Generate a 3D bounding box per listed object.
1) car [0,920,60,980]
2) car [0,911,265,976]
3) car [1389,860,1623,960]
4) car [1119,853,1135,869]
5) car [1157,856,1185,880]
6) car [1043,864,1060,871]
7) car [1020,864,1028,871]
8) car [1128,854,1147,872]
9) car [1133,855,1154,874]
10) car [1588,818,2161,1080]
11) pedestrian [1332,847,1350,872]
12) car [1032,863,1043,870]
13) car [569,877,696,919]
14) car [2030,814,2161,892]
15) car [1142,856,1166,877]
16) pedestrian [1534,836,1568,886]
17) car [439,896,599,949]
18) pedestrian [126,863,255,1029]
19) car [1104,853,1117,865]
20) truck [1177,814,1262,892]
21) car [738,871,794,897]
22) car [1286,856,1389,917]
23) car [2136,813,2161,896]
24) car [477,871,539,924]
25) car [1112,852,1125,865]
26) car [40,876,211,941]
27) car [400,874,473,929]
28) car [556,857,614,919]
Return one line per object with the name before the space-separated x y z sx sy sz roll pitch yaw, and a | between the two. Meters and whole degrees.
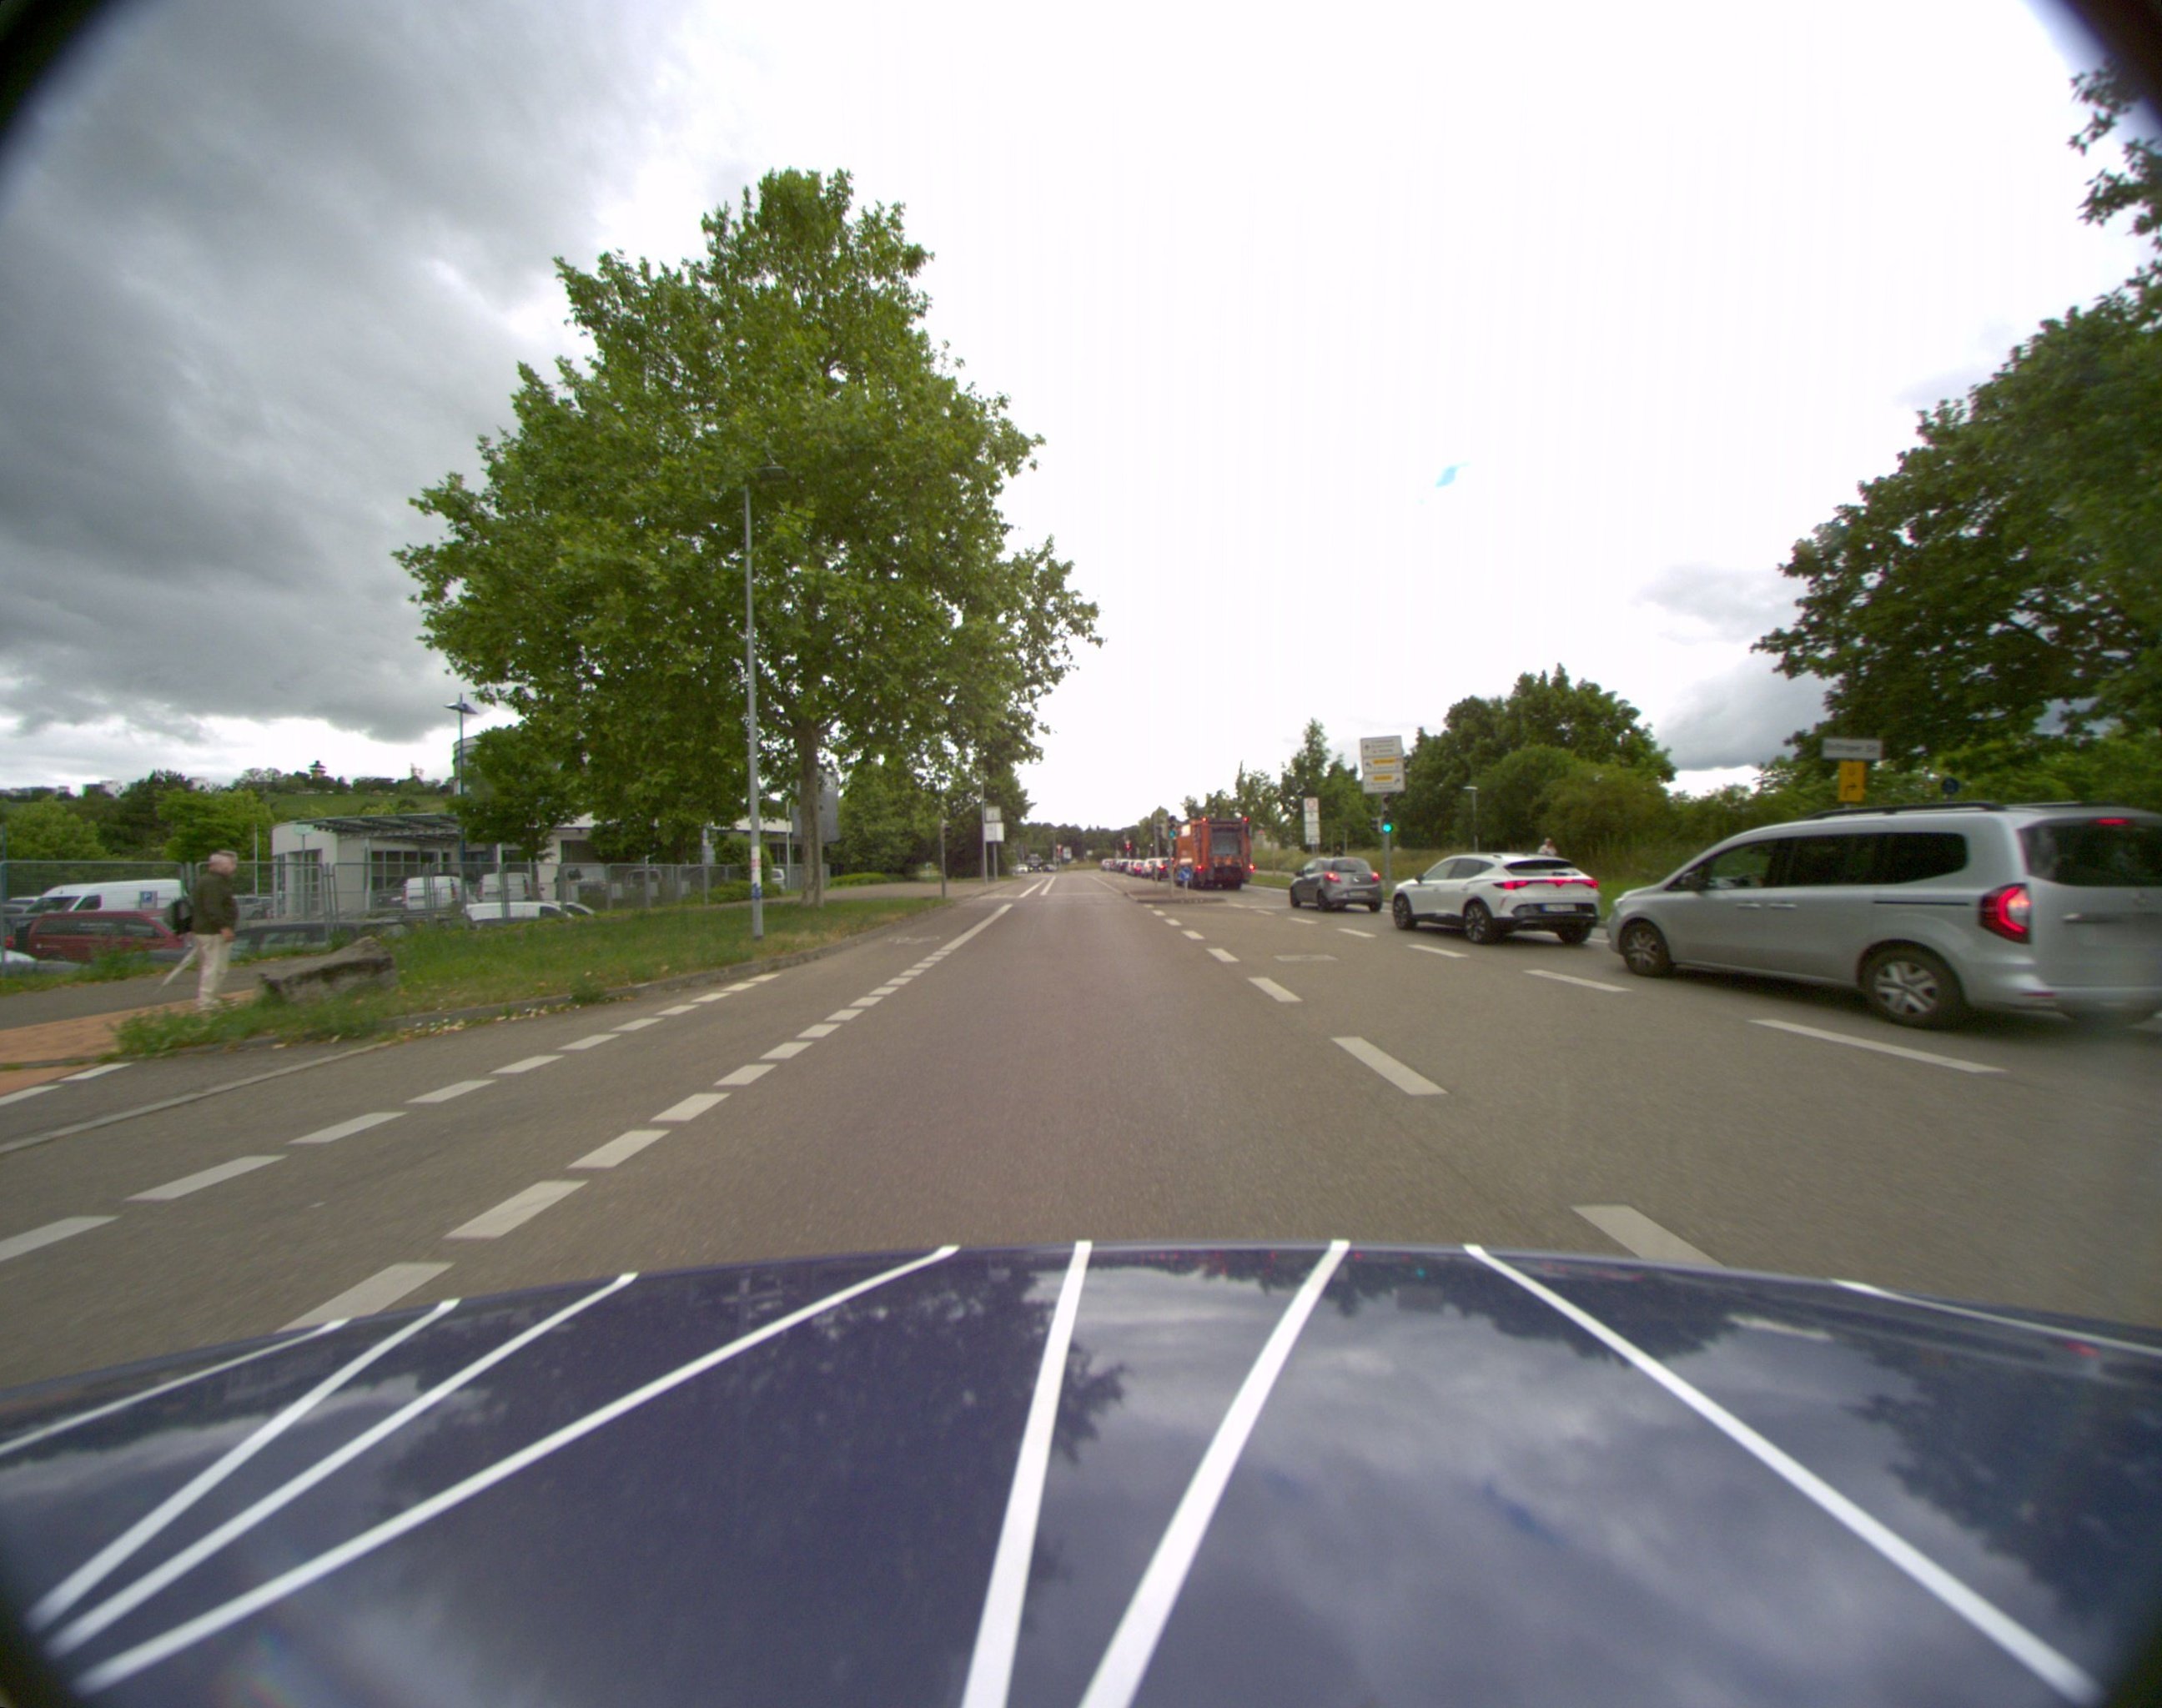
car | -29.214 2.597 19.309 3.997 1.439 1.819 -4 -1 0
car | -29.953 2.800 24.087 5.809 1.439 1.818 -4 -1 -5
car | 7.256 0.859 13.537 1.733 1.477 4.121 0 0 -3
car | 5.115 0.773 84.734 1.591 1.608 3.583 -1 0 1
car | 6.253 0.953 53.246 1.591 1.608 3.351 -1 0 1
car | -5.752 2.645 148.568 1.596 1.480 3.574 -1 0 -36
car | -11.863 2.782 157.245 1.592 1.480 3.582 -1 0 -4
car | 5.536 0.870 74.598 1.591 1.608 3.583 -1 0 1
car | 5.618 0.938 68.231 1.591 1.608 3.583 -1 0 1
car | 7.429 0.638 7.433 1.833 1.759 4.406 -2 0 -2
pedestrian | 15.429 0.341 45.126 0.757 1.438 0.639 -2 1 -3
car | -9.441 2.615 163.876 1.594 1.480 3.579 -1 0 -15
car | -19.028 1.853 32.401 4.189 1.439 1.818 -4 -1 -4
car | 29.111 -0.025 20.455 5.300 2.002 1.739 0 1 -4
car | 5.928 0.963 61.653 1.591 1.608 3.583 -1 0 1
pedestrian | 16.544 0.236 26.776 0.758 1.727 0.638 -2 1 -12
car | -19.946 2.404 27.103 4.189 1.439 1.818 -4 -1 -4
pedestrian | -9.590 0.962 8.204 0.734 1.717 0.501 0 1 -7
car | 3.977 0.711 103.663 1.591 1.608 3.583 -1 0 1
truck | 6.699 -0.042 37.917 2.832 3.460 7.823 -1 0 0
car | -20.380 1.946 49.104 1.822 1.439 4.181 -3 -2 -44
car | 7.103 0.855 21.378 1.640 1.553 3.350 -1 0 -3
car | 28.534 0.025 17.911 5.300 2.002 1.739 0 1 -4
car | -26.568 1.987 35.359 2.120 2.261 4.473 -1 -1 -35
car | 4.826 0.638 97.903 1.591 1.608 3.583 -1 0 1
car | -43.954 2.421 35.150 2.220 2.739 4.484 -1 -1 0
car | -29.097 2.094 34.465 2.120 2.261 4.473 -1 -1 -35
car | -24.074 1.616 36.801 2.120 2.778 4.473 -1 -1 -35
